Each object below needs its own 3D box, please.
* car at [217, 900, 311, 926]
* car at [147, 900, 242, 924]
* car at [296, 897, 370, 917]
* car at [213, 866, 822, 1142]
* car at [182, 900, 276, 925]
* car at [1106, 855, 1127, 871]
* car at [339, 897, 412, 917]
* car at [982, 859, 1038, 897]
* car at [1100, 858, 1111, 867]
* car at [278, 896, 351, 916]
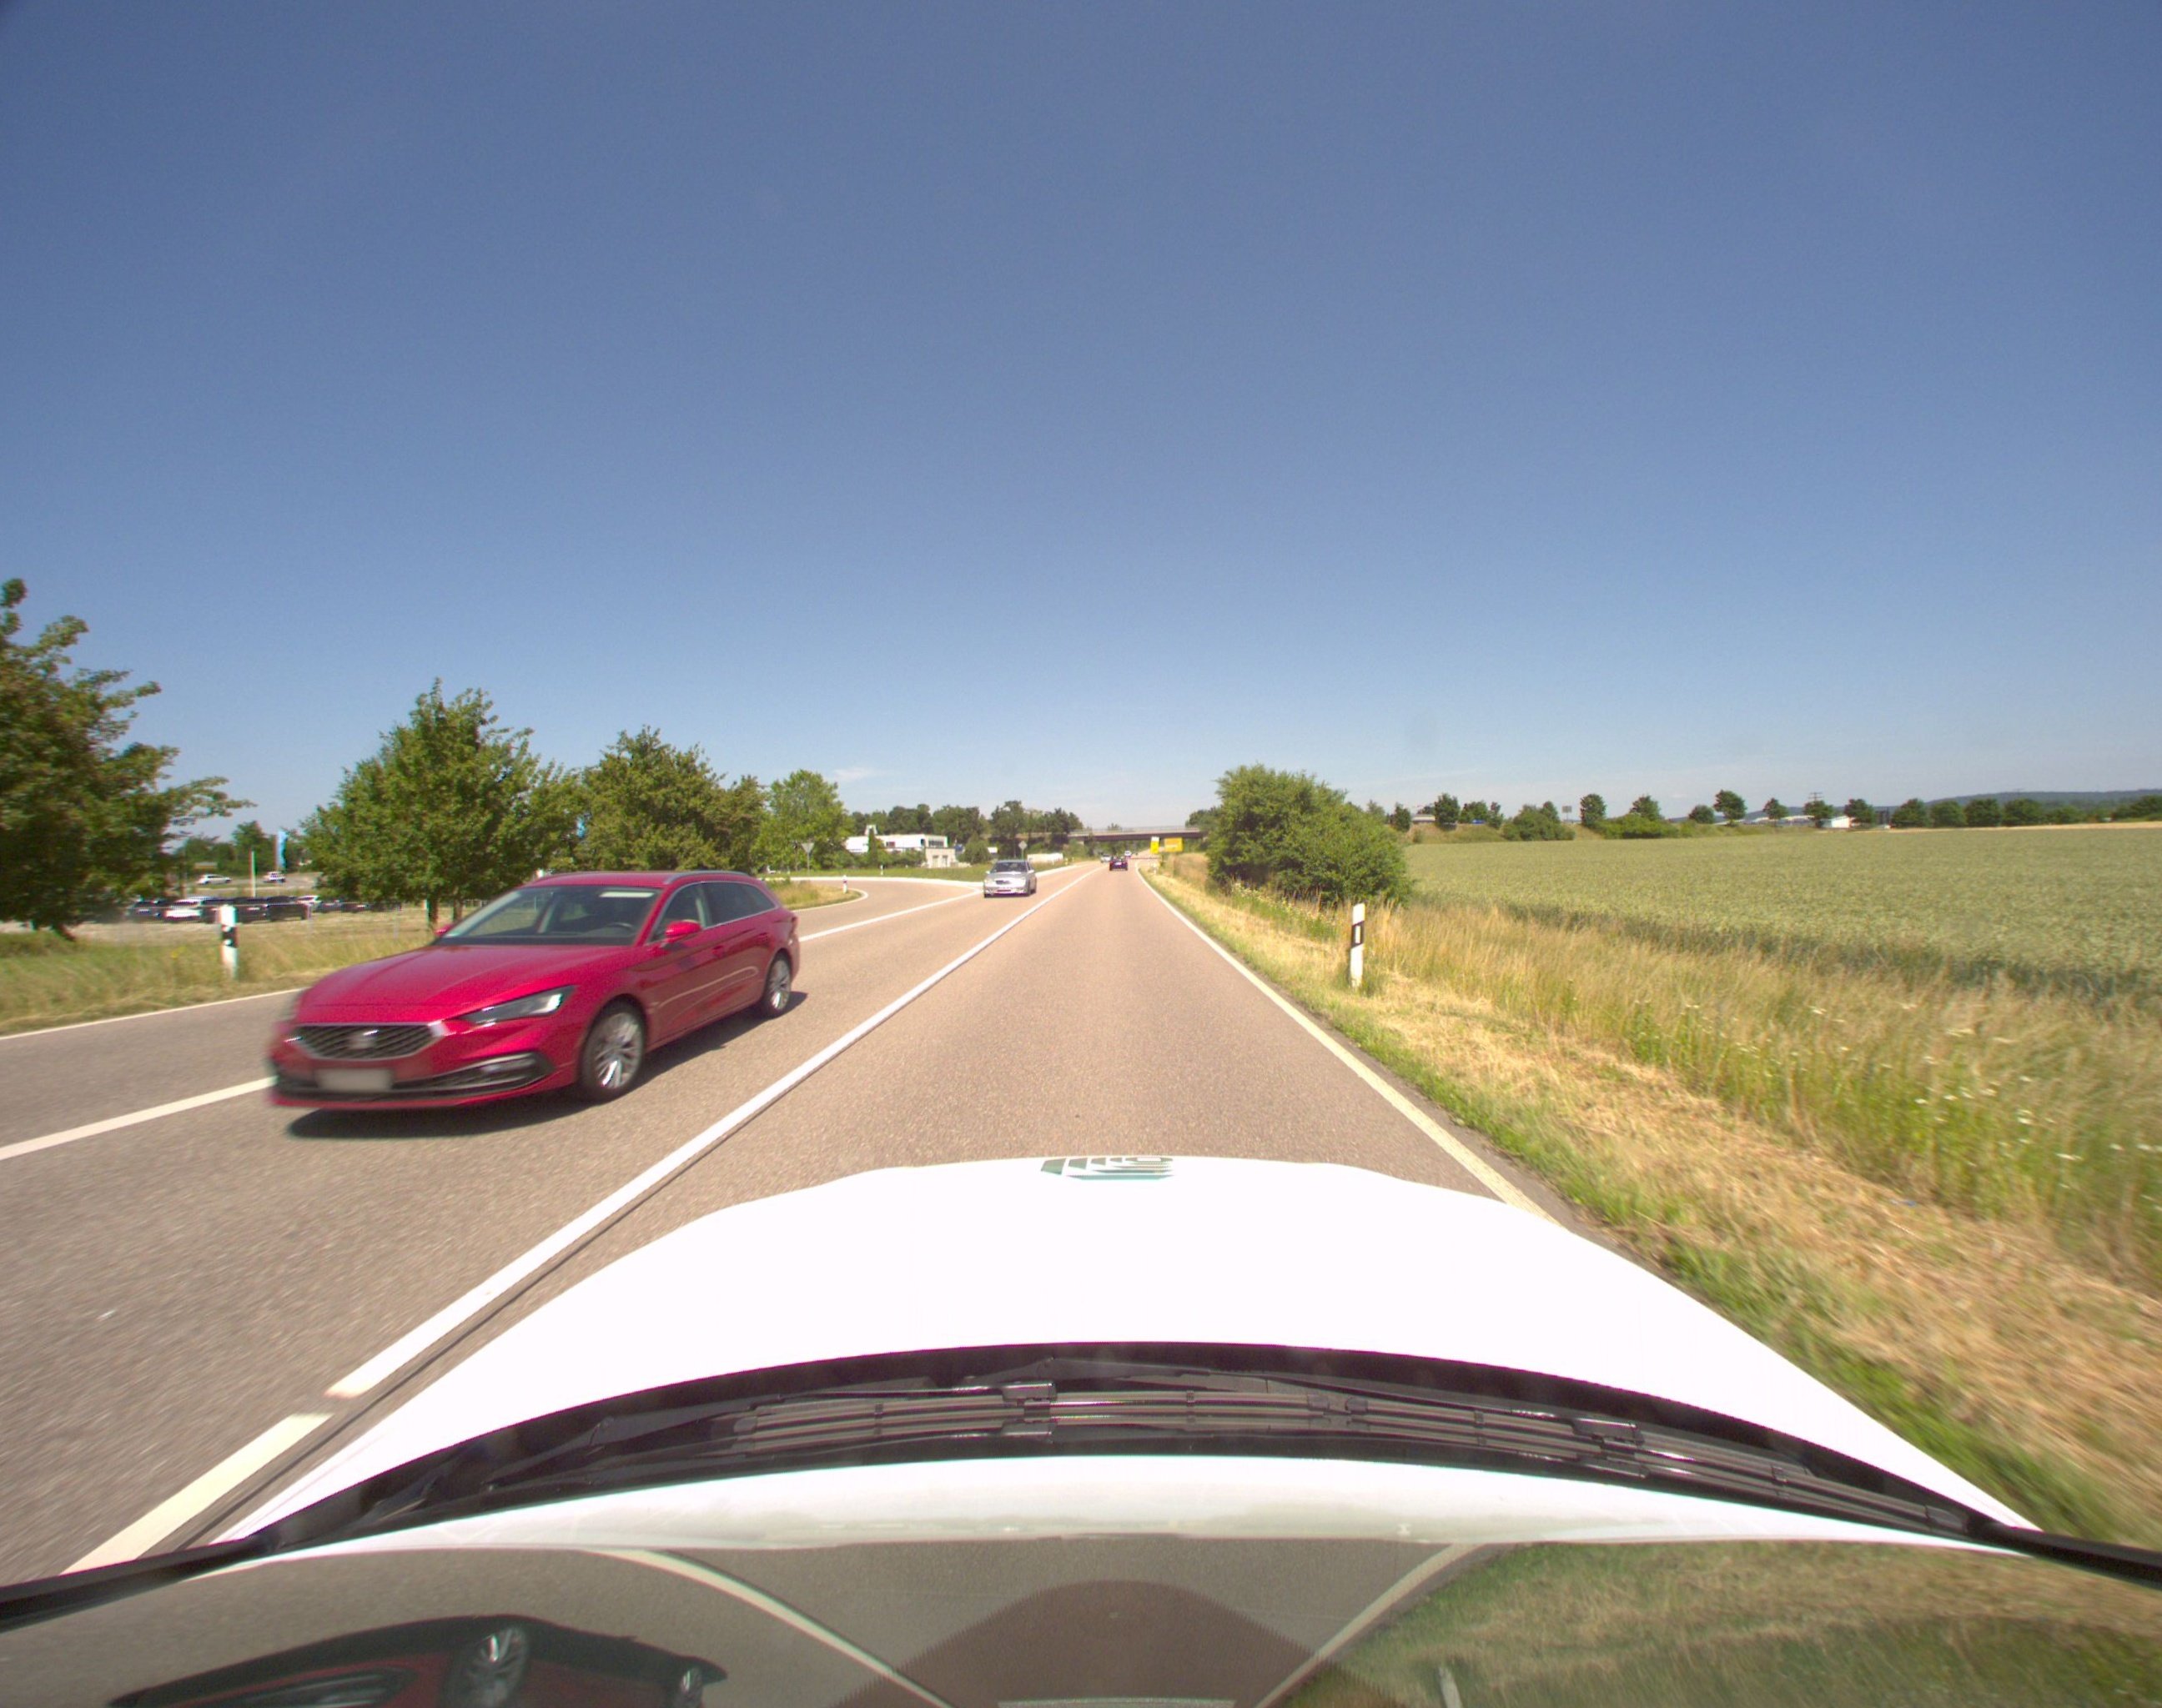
[{"bbox_3d":[-54.506,3.913,54.424,1.975,1.394,4.024,-2,-1,28],"label":"car"},{"bbox_3d":[-61.023,3.967,56.115,1.975,1.394,4.024,-2,-1,28],"label":"car"},{"bbox_3d":[-61.329,4.304,66.859,1.975,1.394,4.024,-2,-1,28],"label":"car"},{"bbox_3d":[-3.757,0.838,6.682,1.736,1.411,4.624,0,0,0],"label":"car"},{"bbox_3d":[-57.865,3.945,55.399,1.975,1.394,4.024,-2,-1,28],"label":"car"},{"bbox_3d":[3.409,0.858,78.547,1.809,1.441,3.998,0,0,-1],"label":"car"},{"bbox_3d":[-57.324,4.280,66.215,1.975,1.394,4.024,-2,-1,28],"label":"car"},{"bbox_3d":[-2.772,0.912,32.583,1.725,1.391,4.493,0,0,2],"label":"car"},{"bbox_3d":[4.447,1.591,149.470,1.825,1.567,3.334,-2,0,0],"label":"car"},{"bbox_3d":[-64.066,4.334,68.131,1.975,1.394,4.024,-2,-1,28],"label":"car"}]
